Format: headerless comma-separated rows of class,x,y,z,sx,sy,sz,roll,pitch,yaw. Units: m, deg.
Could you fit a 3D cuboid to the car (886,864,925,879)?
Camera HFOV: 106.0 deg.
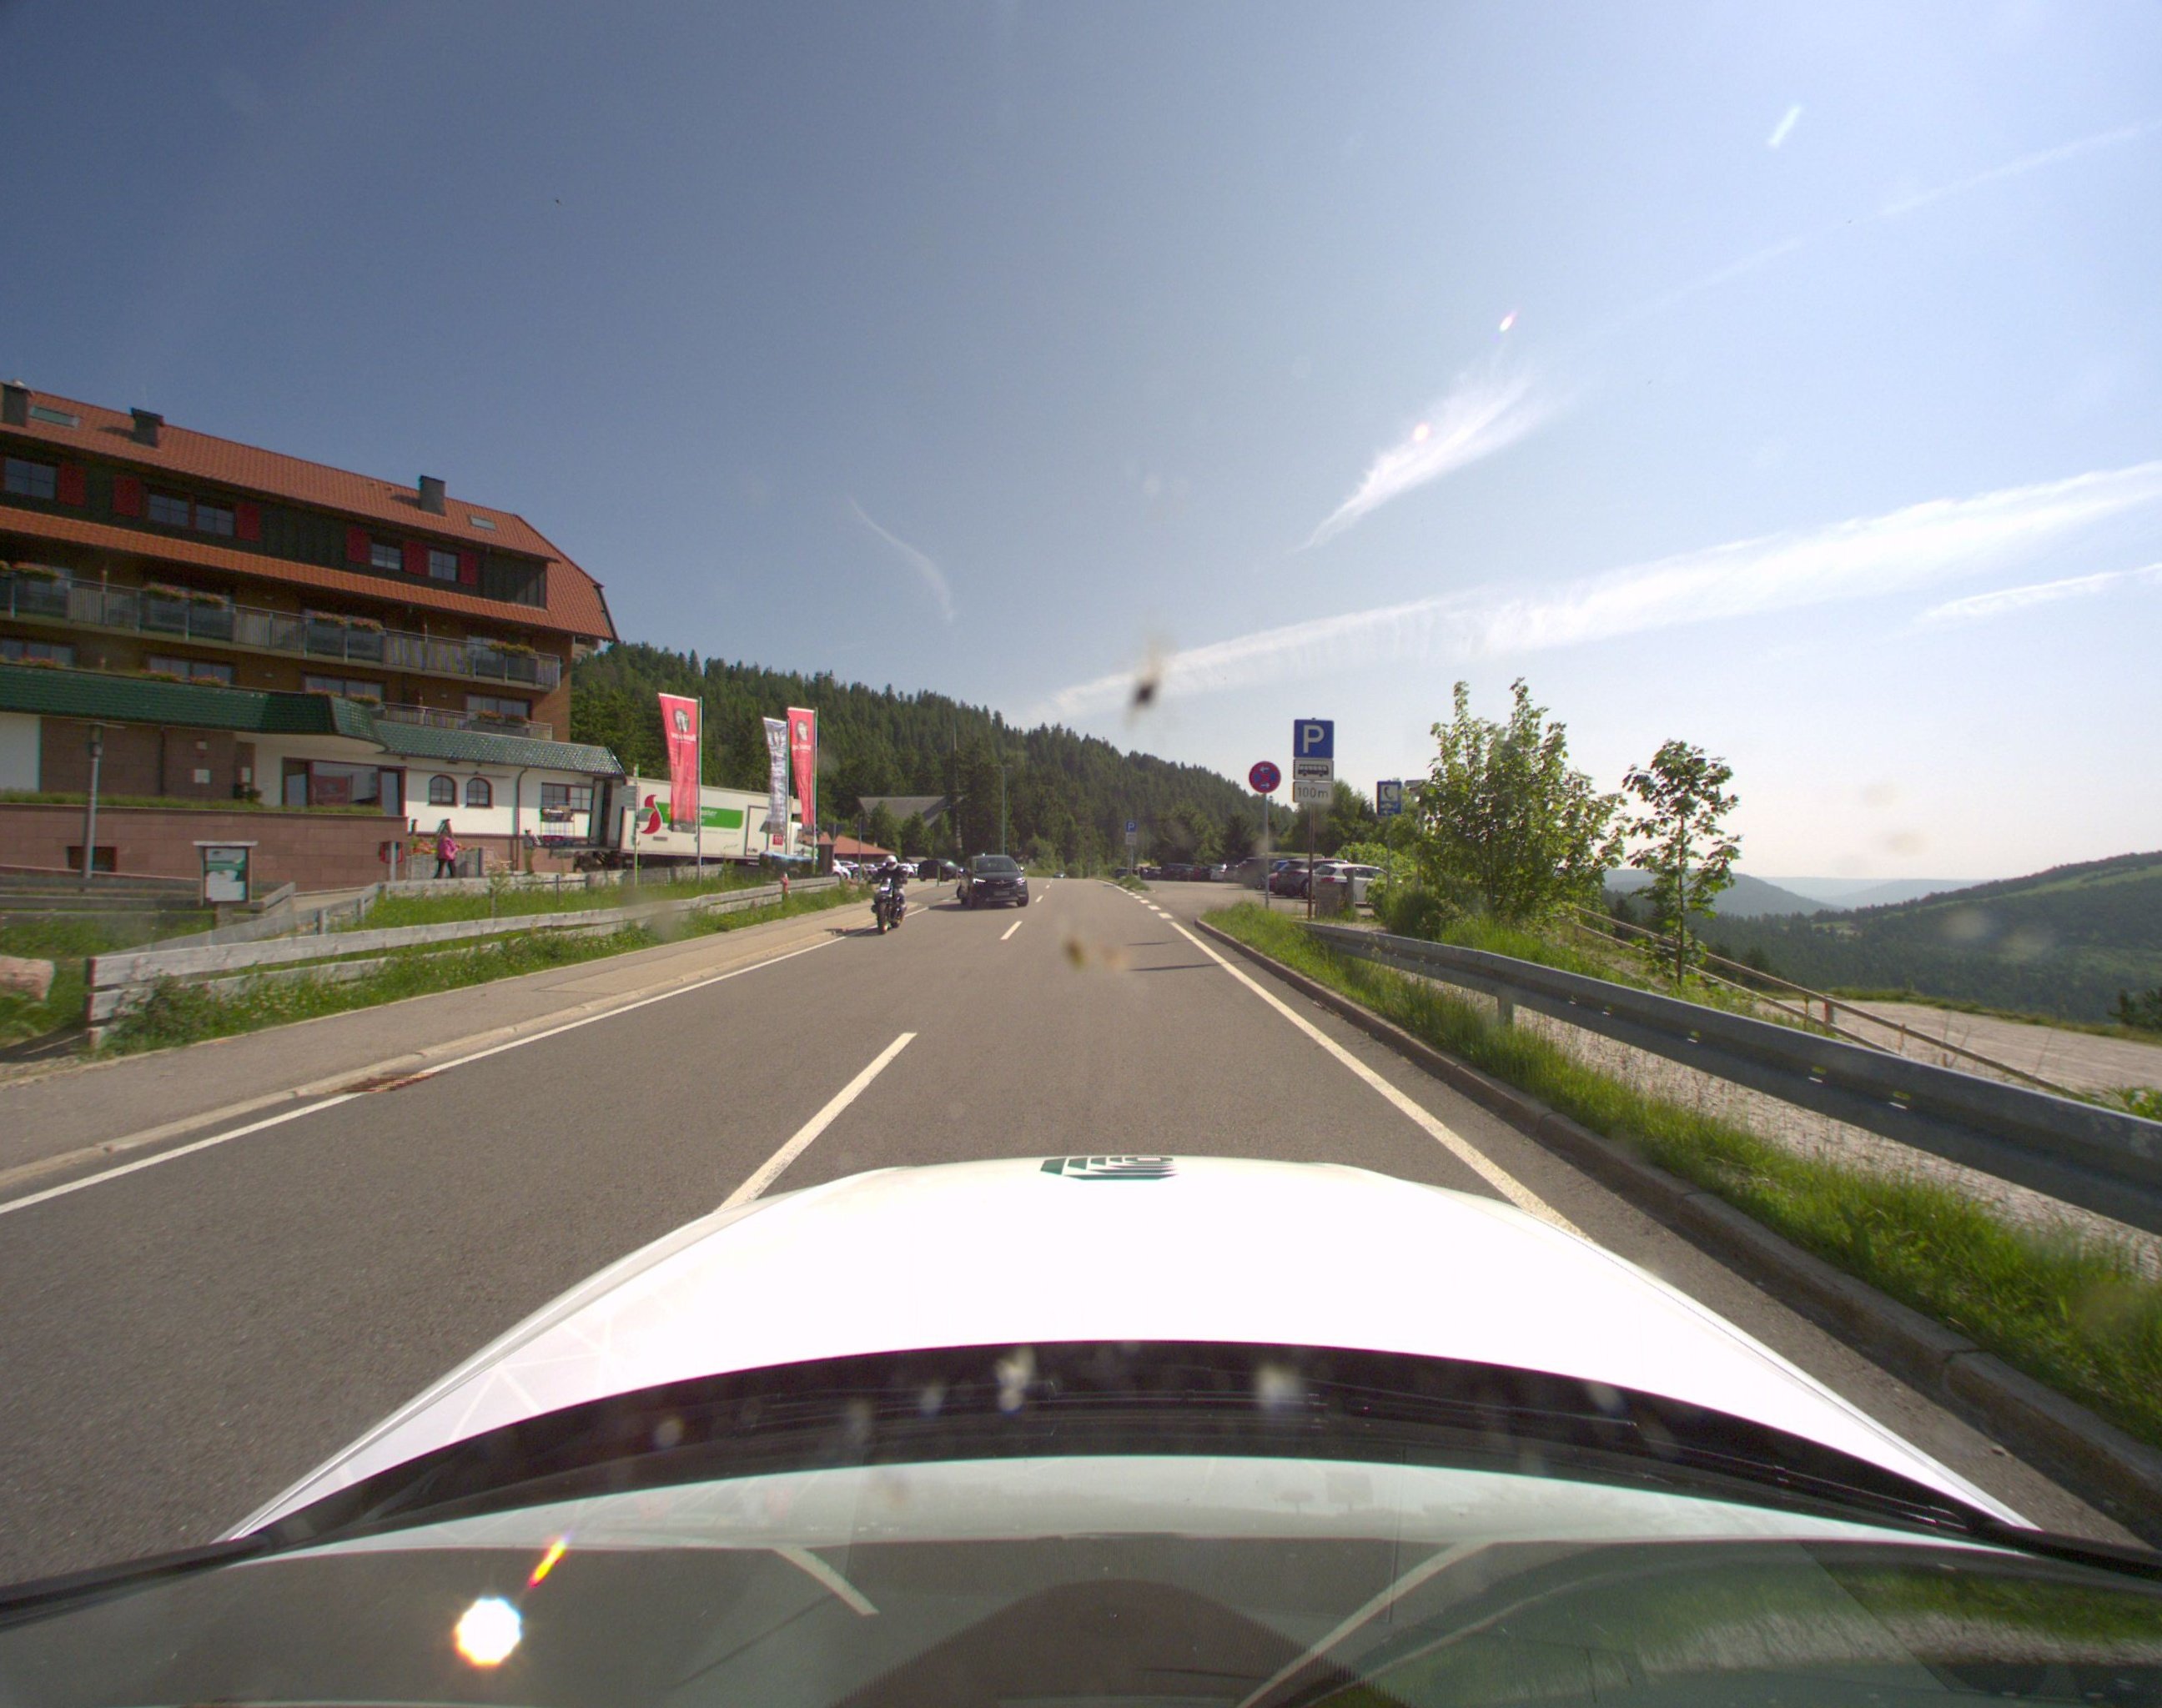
car,-20.204,1.981,93.836,1.754,1.672,4.055,-3,-2,43

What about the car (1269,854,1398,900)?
car,9.761,0.871,31.602,4.400,1.568,1.900,2,0,-12

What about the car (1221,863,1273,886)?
car,13.694,1.682,67.114,4.247,1.695,1.842,4,-2,-39

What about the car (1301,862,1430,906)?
car,9.993,1.043,28.678,3.988,1.386,1.651,3,-1,-11

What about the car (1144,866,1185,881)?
car,9.008,2.102,87.557,4.003,1.443,1.826,4,-2,-23

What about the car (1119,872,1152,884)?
car,7.985,3.508,119.698,4.464,1.299,1.573,6,-2,-18

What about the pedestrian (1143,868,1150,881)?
pedestrian,7.123,2.187,88.966,0.770,1.403,0.670,-1,-1,5

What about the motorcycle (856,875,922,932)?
motorcycle,-4.126,1.039,17.680,0.836,1.096,2.183,-2,-1,1

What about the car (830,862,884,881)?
car,-18.958,1.455,68.926,1.694,1.486,4.104,-1,-1,44

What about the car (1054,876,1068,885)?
car,-3.364,4.373,135.998,1.570,1.429,3.382,-1,0,11

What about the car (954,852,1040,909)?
car,-2.732,0.786,25.587,1.984,1.617,4.127,-1,0,-16

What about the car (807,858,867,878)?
car,-18.668,1.029,62.351,1.890,1.430,4.024,-1,-1,43

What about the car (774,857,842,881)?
car,-18.858,1.002,56.373,4.023,1.546,1.975,0,-1,-45

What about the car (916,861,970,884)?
car,-9.797,1.284,57.599,1.818,1.540,4.141,0,-1,-43

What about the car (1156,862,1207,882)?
car,10.419,1.864,84.267,4.773,1.880,1.953,4,-2,-21

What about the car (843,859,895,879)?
car,-18.764,1.327,72.176,4.021,1.704,1.804,0,-1,-41

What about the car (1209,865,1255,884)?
car,13.532,1.827,72.923,4.019,1.476,1.747,5,-2,-39

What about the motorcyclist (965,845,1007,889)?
motorcyclist,-3.641,0.480,31.254,1.305,1.641,0.872,-1,-1,-37

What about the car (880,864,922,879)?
car,-19.330,1.844,87.654,1.975,1.574,4.024,-2,-1,44

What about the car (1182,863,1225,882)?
car,11.921,1.833,78.877,4.019,1.590,1.842,5,-2,-39

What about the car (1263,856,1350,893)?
car,10.506,0.946,38.159,3.570,1.495,1.647,3,0,-1

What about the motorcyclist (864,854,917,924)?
motorcyclist,-4.122,0.737,17.693,0.836,1.441,1.005,-2,-1,1

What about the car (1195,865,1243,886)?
car,12.731,1.949,75.036,4.293,1.695,1.968,5,-2,-39

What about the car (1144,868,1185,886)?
car,9.274,2.536,90.671,4.008,1.662,1.982,7,-4,-28

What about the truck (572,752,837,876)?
truck,-14.249,-1.293,31.760,3.031,3.972,8.825,2,-1,37

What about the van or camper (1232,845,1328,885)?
van or camper,11.390,0.627,46.867,5.069,2.013,1.884,3,0,3

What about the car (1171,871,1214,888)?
car,11.129,2.552,81.377,4.010,1.415,1.728,4,-2,-29

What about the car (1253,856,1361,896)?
car,9.559,0.932,34.558,3.988,1.510,1.836,2,0,-11

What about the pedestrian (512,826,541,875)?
pedestrian,-19.495,-0.112,28.634,0.568,1.689,0.657,-1,-1,35

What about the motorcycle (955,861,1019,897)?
motorcycle,-3.599,0.935,31.205,2.338,1.265,0.804,-1,-1,-37

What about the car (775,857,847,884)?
car,-19.418,1.177,58.700,4.556,1.863,1.813,0,-1,-44

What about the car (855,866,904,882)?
car,-18.674,1.868,75.641,4.020,1.371,1.791,0,-1,-40

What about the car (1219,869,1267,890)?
car,13.976,2.205,70.163,4.019,1.549,1.799,5,-2,-39

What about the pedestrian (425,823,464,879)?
pedestrian,-19.925,-0.084,25.496,0.690,1.716,0.803,-1,-1,35

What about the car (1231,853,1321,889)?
car,9.708,0.835,40.736,3.982,1.613,1.912,2,-1,-7

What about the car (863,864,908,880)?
car,-19.466,1.767,81.123,1.876,1.545,4.023,-1,-1,45
